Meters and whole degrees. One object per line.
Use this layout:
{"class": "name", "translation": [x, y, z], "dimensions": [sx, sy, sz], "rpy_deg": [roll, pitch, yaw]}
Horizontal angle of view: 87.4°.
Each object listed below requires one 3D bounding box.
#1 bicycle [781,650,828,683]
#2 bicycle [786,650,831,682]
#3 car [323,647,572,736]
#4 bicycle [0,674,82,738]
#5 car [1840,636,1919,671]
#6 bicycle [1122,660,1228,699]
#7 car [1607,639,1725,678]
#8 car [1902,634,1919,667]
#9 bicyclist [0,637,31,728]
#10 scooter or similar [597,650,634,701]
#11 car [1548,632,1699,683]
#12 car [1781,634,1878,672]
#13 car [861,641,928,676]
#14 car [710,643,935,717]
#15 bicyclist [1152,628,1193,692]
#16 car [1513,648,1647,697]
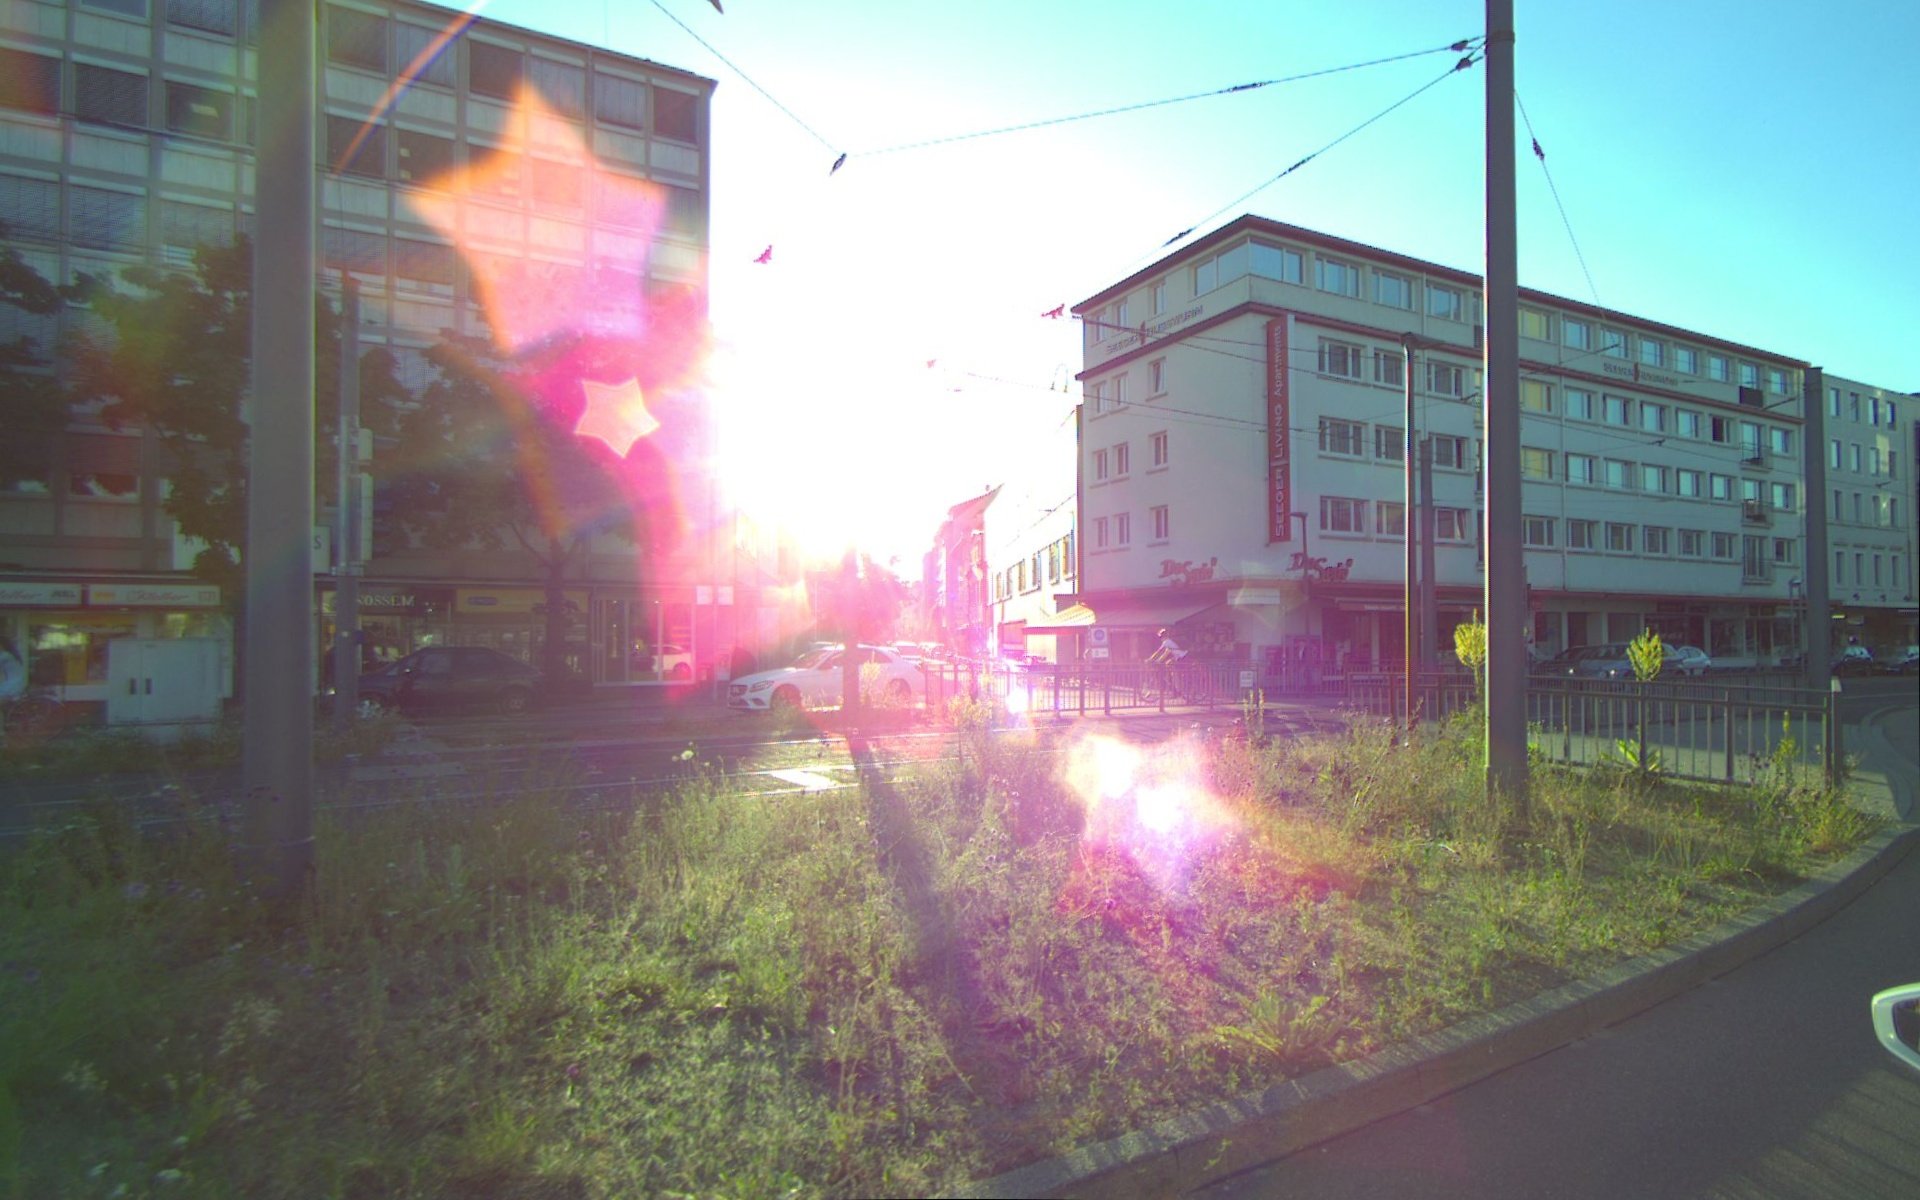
{"class": "bicycle", "translation": [-5.994, 2.549, 38.753], "dimensions": [1.749, 1.201, 0.553], "rpy_deg": [3, -3, -11]}
{"class": "bicycle", "translation": [-6.002, 2.624, 39.829], "dimensions": [1.688, 1.201, 0.539], "rpy_deg": [3, -3, -11]}
{"class": "car", "translation": [-10.190, 1.756, 20.179], "dimensions": [4.251, 1.594, 1.985], "rpy_deg": [1, -2, -29]}
{"class": "bicycle", "translation": [-14.948, 1.654, 15.568], "dimensions": [0.714, 0.942, 1.944], "rpy_deg": [-2, -3, 42]}
{"class": "car", "translation": [45.869, 2.615, 49.552], "dimensions": [4.575, 1.687, 1.988], "rpy_deg": [1, -2, -25]}
{"class": "bicycle", "translation": [5.012, 1.846, 23.510], "dimensions": [2.373, 0.858, 0.847], "rpy_deg": [0, -2, 11]}
{"class": "car", "translation": [28.420, 2.333, 40.441], "dimensions": [4.342, 1.484, 1.988], "rpy_deg": [1, -2, -25]}
{"class": "car", "translation": [51.623, 2.627, 52.619], "dimensions": [3.946, 1.687, 1.988], "rpy_deg": [1, -2, -25]}
{"class": "bicyclist", "translation": [-14.931, 1.271, 15.588], "dimensions": [0.706, 1.387, 0.680], "rpy_deg": [-2, -3, 43]}
{"class": "scooter or similar", "translation": [-9.444, 2.058, 27.578], "dimensions": [0.504, 1.339, 1.281], "rpy_deg": [0, -2, 2]}
{"class": "car", "translation": [21.738, 1.854, 32.925], "dimensions": [4.220, 1.580, 2.193], "rpy_deg": [1, -2, -24]}
{"class": "car", "translation": [40.556, 2.456, 46.847], "dimensions": [3.946, 1.687, 1.988], "rpy_deg": [1, -2, -25]}
{"class": "car", "translation": [-3.214, 2.799, 48.703], "dimensions": [1.860, 1.594, 4.225], "rpy_deg": [1, -2, -24]}
{"class": "car", "translation": [-3.009, 1.702, 22.441], "dimensions": [4.619, 1.460, 2.019], "rpy_deg": [2, -3, -38]}
{"class": "bicyclist", "translation": [4.971, 1.395, 23.530], "dimensions": [0.912, 1.460, 0.836], "rpy_deg": [0, -2, 12]}
{"class": "car", "translation": [23.227, 2.678, 37.597], "dimensions": [4.774, 1.687, 1.988], "rpy_deg": [1, -2, -25]}
